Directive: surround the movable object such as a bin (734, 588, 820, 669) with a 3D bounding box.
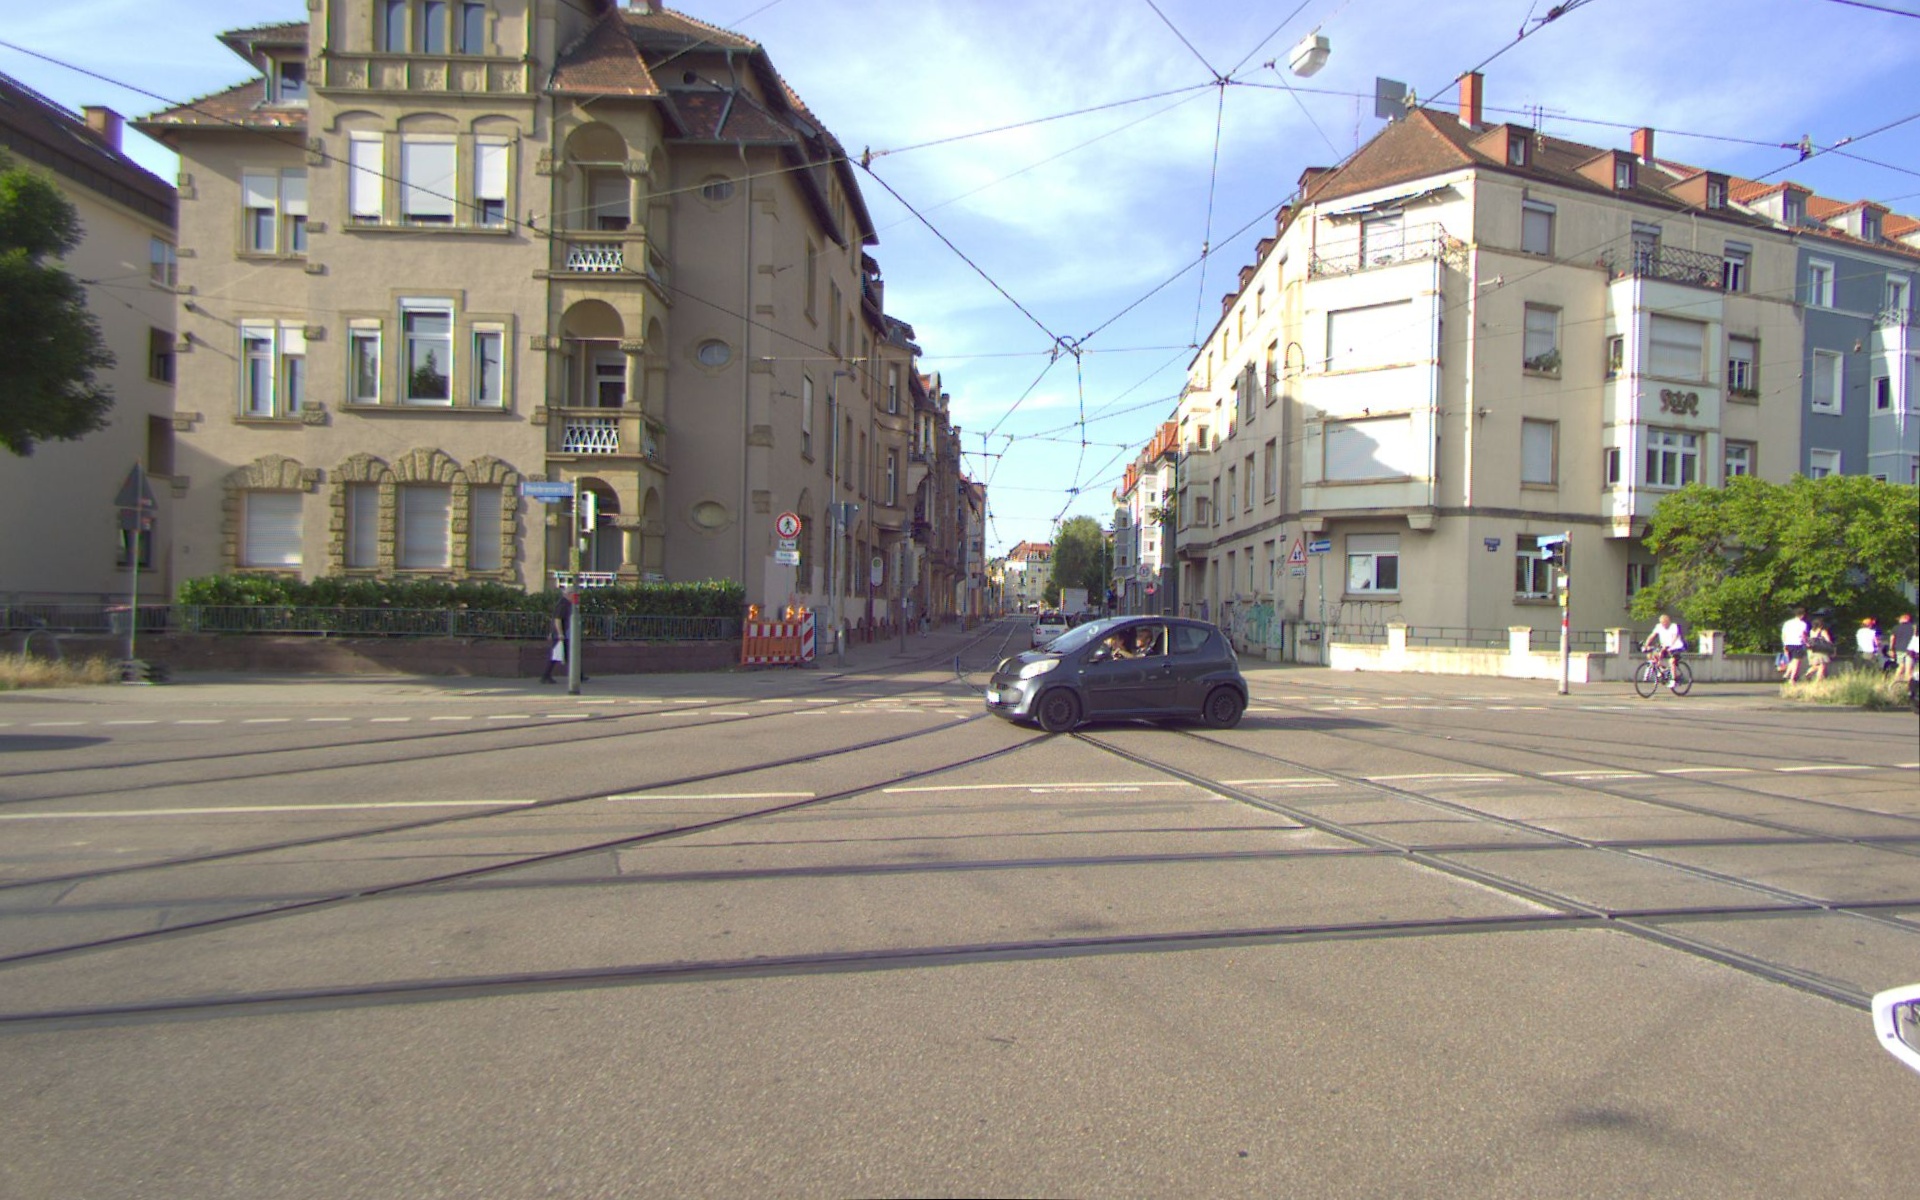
[{"bbox_3d":[-4.061,0.637,22.531,0.260,1.732,2.375,1,0,35],"label":"movable object such as a bin"}]

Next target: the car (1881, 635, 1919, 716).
[{"bbox_3d":[19.375,1.450,18.603,3.937,1.439,1.687,2,0,-18],"label":"car"}]

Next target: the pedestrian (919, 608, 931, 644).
[{"bbox_3d":[-1.803,1.351,52.347,0.535,1.847,0.477,1,0,3],"label":"pedestrian"}]

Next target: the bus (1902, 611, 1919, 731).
[{"bbox_3d":[15.488,1.043,13.838,4.091,1.658,1.844,2,0,-16],"label":"bus"}]

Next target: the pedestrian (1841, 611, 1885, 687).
[{"bbox_3d":[22.987,1.244,25.579,0.617,1.906,0.583,1,0,-20],"label":"pedestrian"}]

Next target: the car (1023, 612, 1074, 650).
[{"bbox_3d":[3.674,1.260,42.094,1.764,1.476,4.000,1,0,0],"label":"car"}]

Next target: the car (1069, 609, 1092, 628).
[{"bbox_3d":[10.362,1.577,86.358,1.764,1.476,4.002,1,0,4],"label":"car"}]

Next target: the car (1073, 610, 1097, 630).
[{"bbox_3d":[10.095,1.590,81.333,1.764,1.476,4.002,1,0,5],"label":"car"}]

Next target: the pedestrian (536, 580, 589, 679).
[{"bbox_3d":[-6.983,0.509,17.670,0.592,1.673,0.681,2,0,3],"label":"pedestrian"}]

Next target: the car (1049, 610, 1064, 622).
[{"bbox_3d":[12.992,2.110,135.118,1.764,1.476,4.001,1,0,3],"label":"car"}]

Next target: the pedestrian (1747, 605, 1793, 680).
[{"bbox_3d":[20.819,1.082,25.818,0.617,1.906,0.658,1,0,-20],"label":"pedestrian"}]

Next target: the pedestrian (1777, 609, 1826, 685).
[{"bbox_3d":[21.091,1.167,25.189,0.639,1.873,0.674,1,0,-17],"label":"pedestrian"}]

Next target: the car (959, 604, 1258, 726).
[{"bbox_3d":[1.929,0.829,13.365,3.568,1.452,1.634,1,0,-15],"label":"car"}]

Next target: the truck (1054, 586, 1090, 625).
[{"bbox_3d":[11.489,0.545,103.904,3.191,3.778,9.928,1,0,4],"label":"truck"}]

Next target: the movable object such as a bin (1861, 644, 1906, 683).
[{"bbox_3d":[23.715,1.634,25.803,0.652,0.959,0.583,2,0,-14],"label":"movable object such as a bin"}]

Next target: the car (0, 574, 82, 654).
[{"bbox_3d":[-20.809,0.269,20.766,1.741,1.654,4.000,1,0,1],"label":"car"}]

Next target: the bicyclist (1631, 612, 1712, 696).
[{"bbox_3d":[14.767,1.115,20.858,1.146,1.690,0.761,1,0,-9],"label":"bicyclist"}]

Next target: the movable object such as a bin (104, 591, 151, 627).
[{"bbox_3d":[-19.832,0.214,23.939,0.598,0.825,0.655,2,0,-7],"label":"movable object such as a bin"}]

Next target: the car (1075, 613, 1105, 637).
[{"bbox_3d":[8.700,1.677,67.530,1.764,1.476,4.002,1,0,5],"label":"car"}]

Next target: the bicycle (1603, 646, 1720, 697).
[{"bbox_3d":[14.540,1.485,20.839,1.997,0.978,0.770,1,0,-9],"label":"bicycle"}]

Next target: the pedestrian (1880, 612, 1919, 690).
[{"bbox_3d":[23.308,1.255,24.830,0.617,1.906,0.584,1,0,-19],"label":"pedestrian"}]
